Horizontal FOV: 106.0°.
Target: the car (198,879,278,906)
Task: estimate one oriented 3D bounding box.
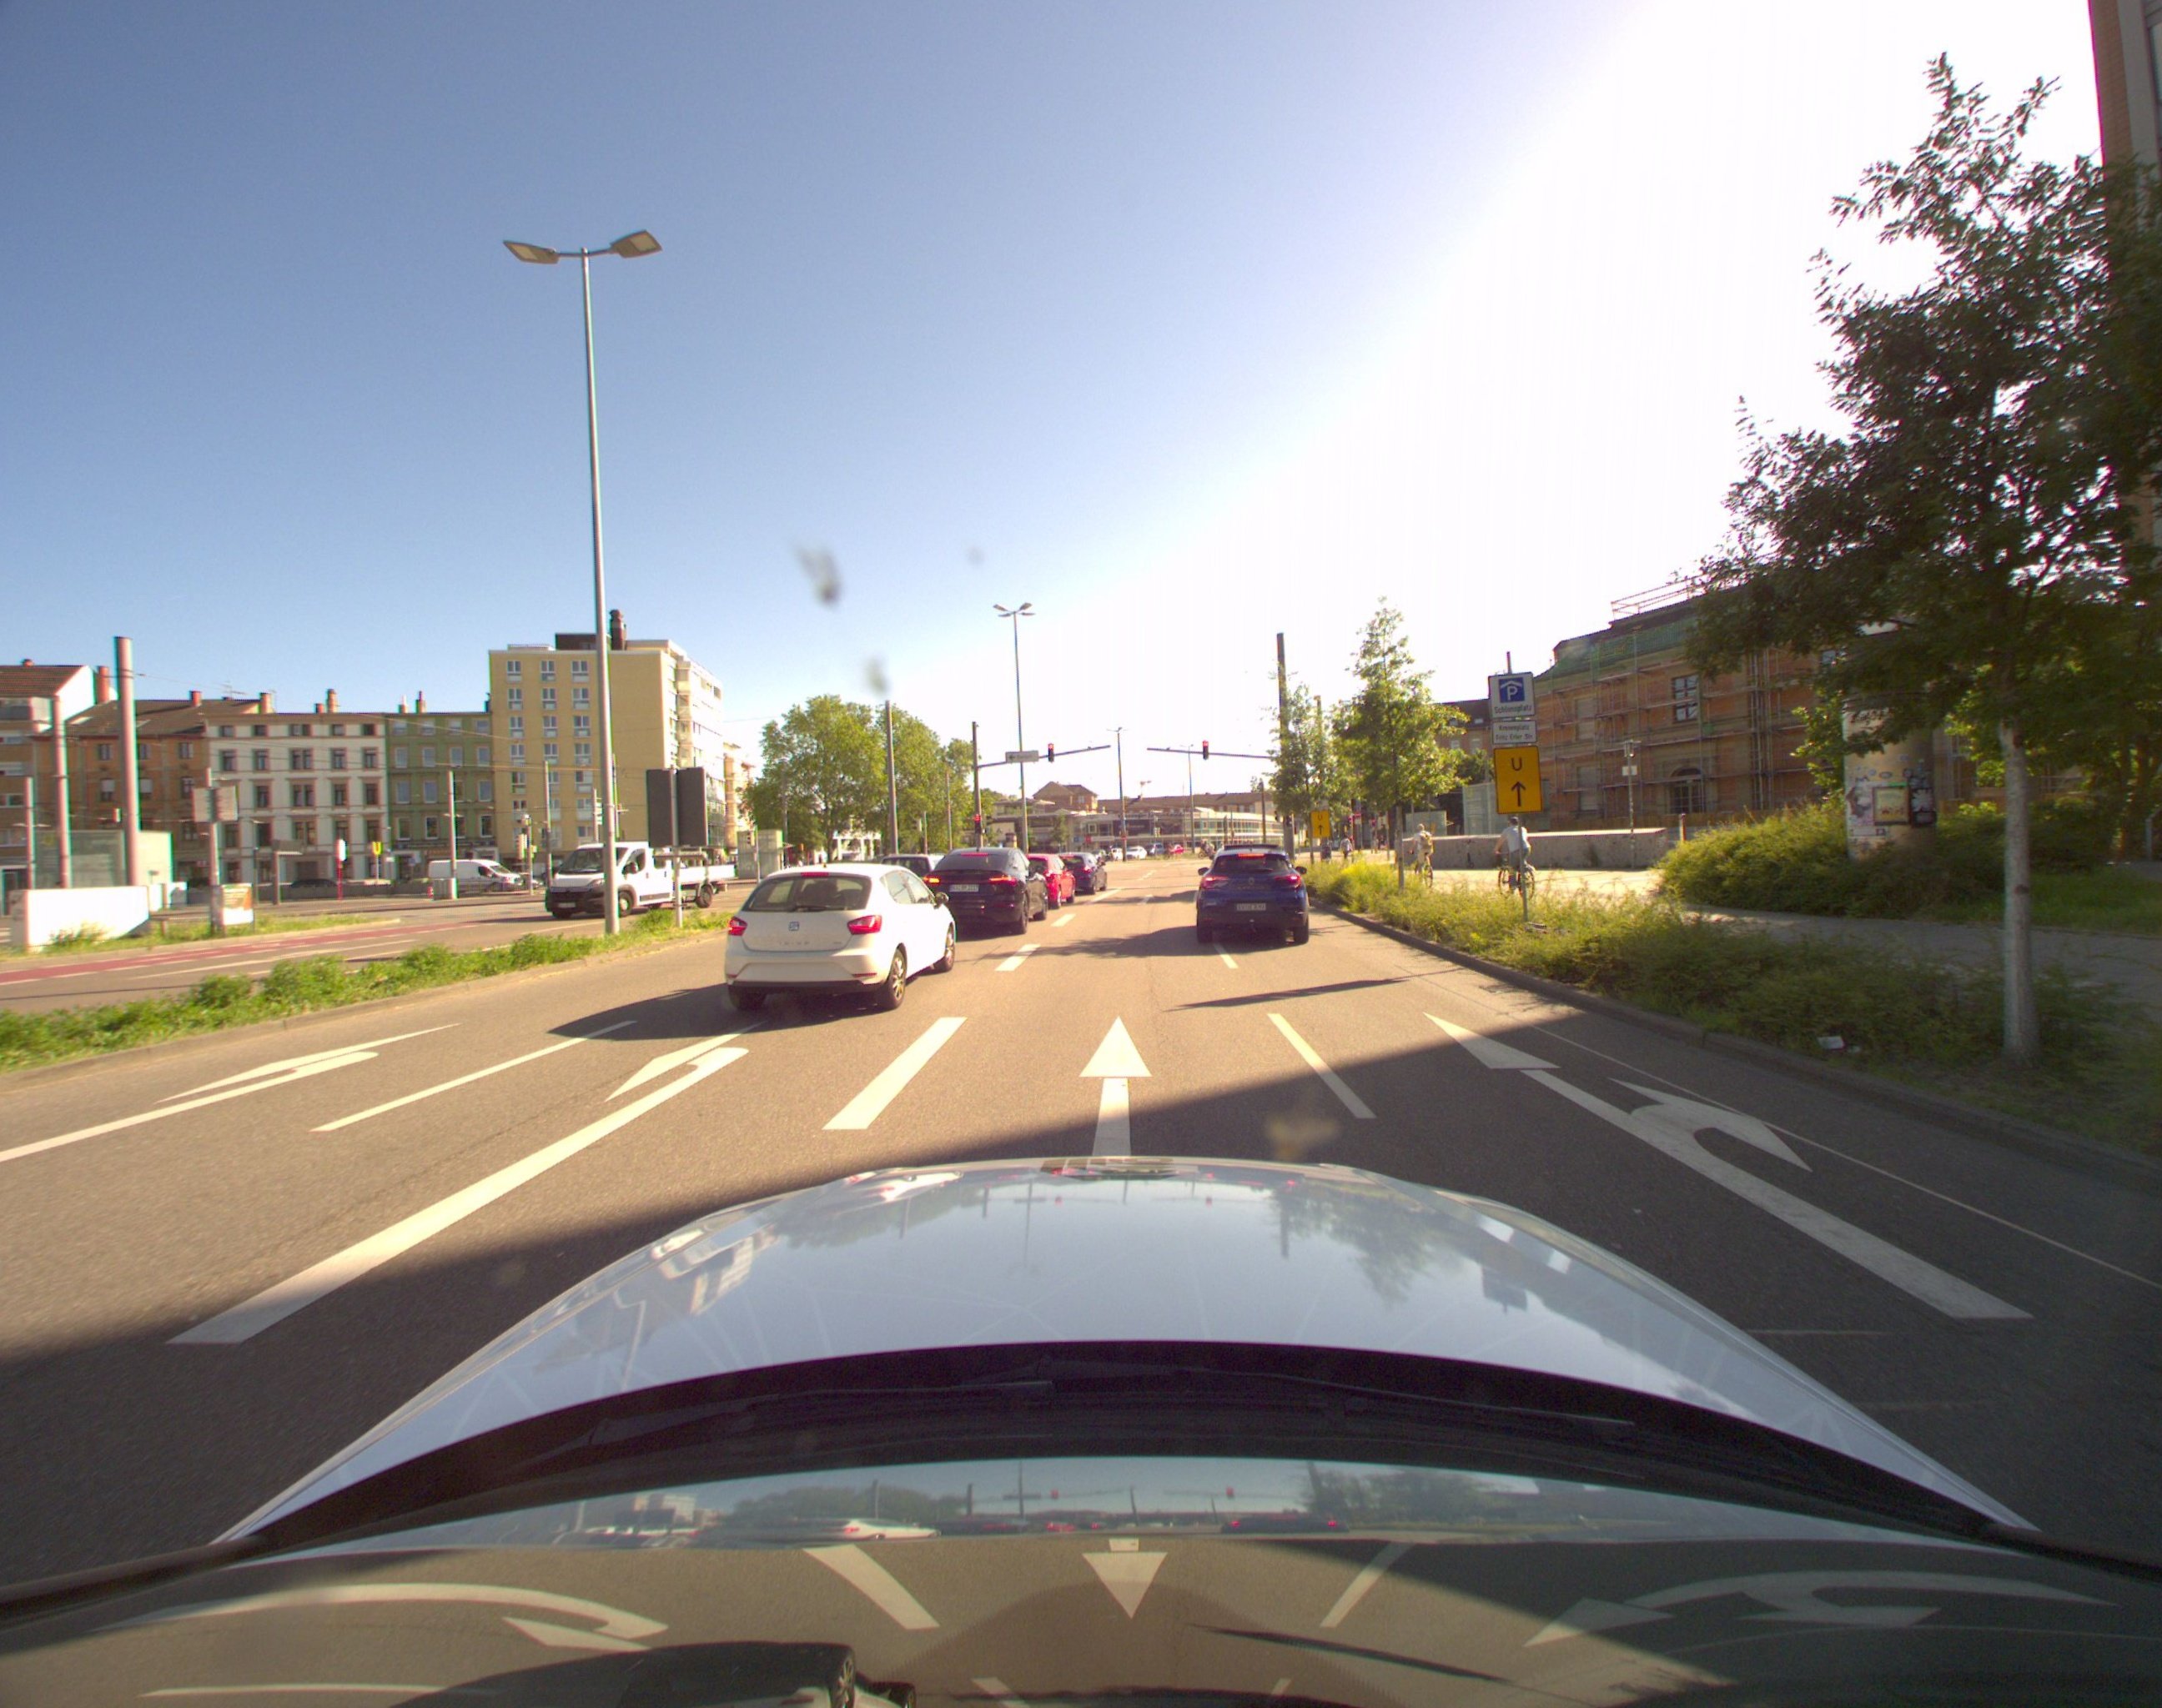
[{"bbox_3d":[-67.712,3.072,65.479,3.985,1.771,1.995,-2,2,-9],"label":"car"}]

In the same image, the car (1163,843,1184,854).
[{"bbox_3d":[13.093,-0.776,115.083,1.709,1.442,4.209,0,1,26],"label":"car"}]

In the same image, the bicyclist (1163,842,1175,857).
[{"bbox_3d":[9.598,-0.473,88.596,1.063,1.584,0.944,-2,2,-10],"label":"bicyclist"}]

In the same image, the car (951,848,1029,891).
[{"bbox_3d":[-3.257,0.523,30.026,1.713,1.442,3.923,0,1,12],"label":"car"}]

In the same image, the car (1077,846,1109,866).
[{"bbox_3d":[1.415,0.184,90.929,1.975,2.013,4.025,0,3,26],"label":"car"}]

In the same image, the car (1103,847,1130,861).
[{"bbox_3d":[4.256,-0.004,97.188,1.709,1.442,4.209,-2,0,26],"label":"car"}]

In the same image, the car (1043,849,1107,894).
[{"bbox_3d":[-0.134,0.567,28.930,1.715,1.442,3.808,0,0,8],"label":"car"}]

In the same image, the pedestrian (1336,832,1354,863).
[{"bbox_3d":[15.045,-0.359,46.346,0.875,1.723,0.588,1,-3,-45],"label":"pedestrian"}]

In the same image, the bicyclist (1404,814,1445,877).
[{"bbox_3d":[10.003,-0.246,23.723,0.717,1.762,0.977,-2,0,-1],"label":"bicyclist"}]

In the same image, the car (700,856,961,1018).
[{"bbox_3d":[-2.567,0.767,9.312,1.684,1.436,3.739,-1,0,2],"label":"car"}]

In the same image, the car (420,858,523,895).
[{"bbox_3d":[-43.222,1.575,57.880,5.487,2.411,1.993,-2,0,-10],"label":"car"}]

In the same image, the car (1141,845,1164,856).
[{"bbox_3d":[9.529,-0.420,108.255,1.709,1.442,4.209,0,1,26],"label":"car"}]

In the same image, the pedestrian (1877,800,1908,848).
[{"bbox_3d":[30.619,-1.139,30.734,0.532,1.752,0.793,-1,2,20],"label":"pedestrian"}]

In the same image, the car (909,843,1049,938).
[{"bbox_3d":[-1.870,0.625,16.405,1.975,1.624,4.383,-1,0,4],"label":"car"}]

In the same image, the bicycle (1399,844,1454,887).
[{"bbox_3d":[10.031,0.313,23.710,0.743,1.165,1.870,-2,1,-1],"label":"bicycle"}]

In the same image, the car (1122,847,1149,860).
[{"bbox_3d":[6.339,-0.069,94.310,1.709,1.442,4.209,-2,0,26],"label":"car"}]

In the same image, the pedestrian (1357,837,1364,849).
[{"bbox_3d":[35.786,-1.398,104.249,0.596,1.409,0.801,-1,2,2],"label":"pedestrian"}]

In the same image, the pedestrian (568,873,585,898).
[{"bbox_3d":[-29.587,1.819,47.772,0.593,1.408,0.567,-2,2,-9],"label":"pedestrian"}]

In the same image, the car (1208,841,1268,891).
[{"bbox_3d":[5.397,0.382,28.156,1.865,1.617,3.635,-1,0,10],"label":"car"}]

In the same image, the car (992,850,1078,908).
[{"bbox_3d":[-1.183,0.620,22.491,1.662,1.442,3.730,0,0,8],"label":"car"}]

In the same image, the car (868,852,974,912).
[{"bbox_3d":[-4.232,0.700,22.183,1.716,1.442,3.806,-1,0,7],"label":"car"}]

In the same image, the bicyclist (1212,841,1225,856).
[{"bbox_3d":[14.970,-0.633,88.689,1.063,1.584,0.944,-2,2,-10],"label":"bicyclist"}]

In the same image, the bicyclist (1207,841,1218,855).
[{"bbox_3d":[13.983,-0.630,86.508,0.958,1.449,0.969,-2,0,2],"label":"bicyclist"}]

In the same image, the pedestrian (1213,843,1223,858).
[{"bbox_3d":[15.328,-0.369,91.066,0.856,1.610,0.696,-3,3,-38],"label":"pedestrian"}]

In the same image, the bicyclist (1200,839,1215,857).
[{"bbox_3d":[13.163,-0.654,84.916,1.187,1.776,0.942,-2,2,-18],"label":"bicyclist"}]

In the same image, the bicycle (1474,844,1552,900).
[{"bbox_3d":[9.548,0.367,18.081,0.714,1.165,1.870,-2,1,0],"label":"bicycle"}]

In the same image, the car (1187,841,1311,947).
[{"bbox_3d":[3.009,0.584,14.455,1.864,1.617,3.811,0,1,13],"label":"car"}]

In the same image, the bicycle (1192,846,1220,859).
[{"bbox_3d":[13.030,-0.132,84.875,2.653,1.188,0.942,-2,2,-18],"label":"bicycle"}]

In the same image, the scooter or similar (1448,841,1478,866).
[{"bbox_3d":[16.221,-0.033,34.577,0.468,1.012,1.244,-2,2,-14],"label":"scooter or similar"}]

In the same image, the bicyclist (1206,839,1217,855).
[{"bbox_3d":[13.988,-0.753,87.627,0.984,1.604,0.758,-2,0,-4],"label":"bicyclist"}]

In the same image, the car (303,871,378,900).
[{"bbox_3d":[-60.868,2.562,66.995,3.985,2.013,1.995,-2,2,-9],"label":"car"}]

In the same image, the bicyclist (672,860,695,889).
[{"bbox_3d":[-20.298,1.039,41.580,0.770,1.444,0.644,-2,0,5],"label":"bicyclist"}]

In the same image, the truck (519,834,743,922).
[{"bbox_3d":[-13.592,0.614,25.407,2.201,2.313,6.902,-2,0,10],"label":"truck"}]

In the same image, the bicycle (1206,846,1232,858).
[{"bbox_3d":[15.044,-0.253,88.714,2.646,1.188,0.944,-2,2,-10],"label":"bicycle"}]

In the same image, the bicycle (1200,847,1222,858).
[{"bbox_3d":[13.968,-0.191,87.623,2.174,1.095,0.758,-2,0,-4],"label":"bicycle"}]

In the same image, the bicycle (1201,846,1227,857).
[{"bbox_3d":[14.081,-0.240,86.508,2.633,1.095,0.969,-2,0,2],"label":"bicycle"}]

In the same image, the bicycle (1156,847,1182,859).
[{"bbox_3d":[9.571,-0.103,88.601,2.646,1.188,0.944,-2,2,-10],"label":"bicycle"}]

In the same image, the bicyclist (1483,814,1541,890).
[{"bbox_3d":[9.535,-0.046,18.061,0.717,1.617,0.978,-2,0,0],"label":"bicyclist"}]
